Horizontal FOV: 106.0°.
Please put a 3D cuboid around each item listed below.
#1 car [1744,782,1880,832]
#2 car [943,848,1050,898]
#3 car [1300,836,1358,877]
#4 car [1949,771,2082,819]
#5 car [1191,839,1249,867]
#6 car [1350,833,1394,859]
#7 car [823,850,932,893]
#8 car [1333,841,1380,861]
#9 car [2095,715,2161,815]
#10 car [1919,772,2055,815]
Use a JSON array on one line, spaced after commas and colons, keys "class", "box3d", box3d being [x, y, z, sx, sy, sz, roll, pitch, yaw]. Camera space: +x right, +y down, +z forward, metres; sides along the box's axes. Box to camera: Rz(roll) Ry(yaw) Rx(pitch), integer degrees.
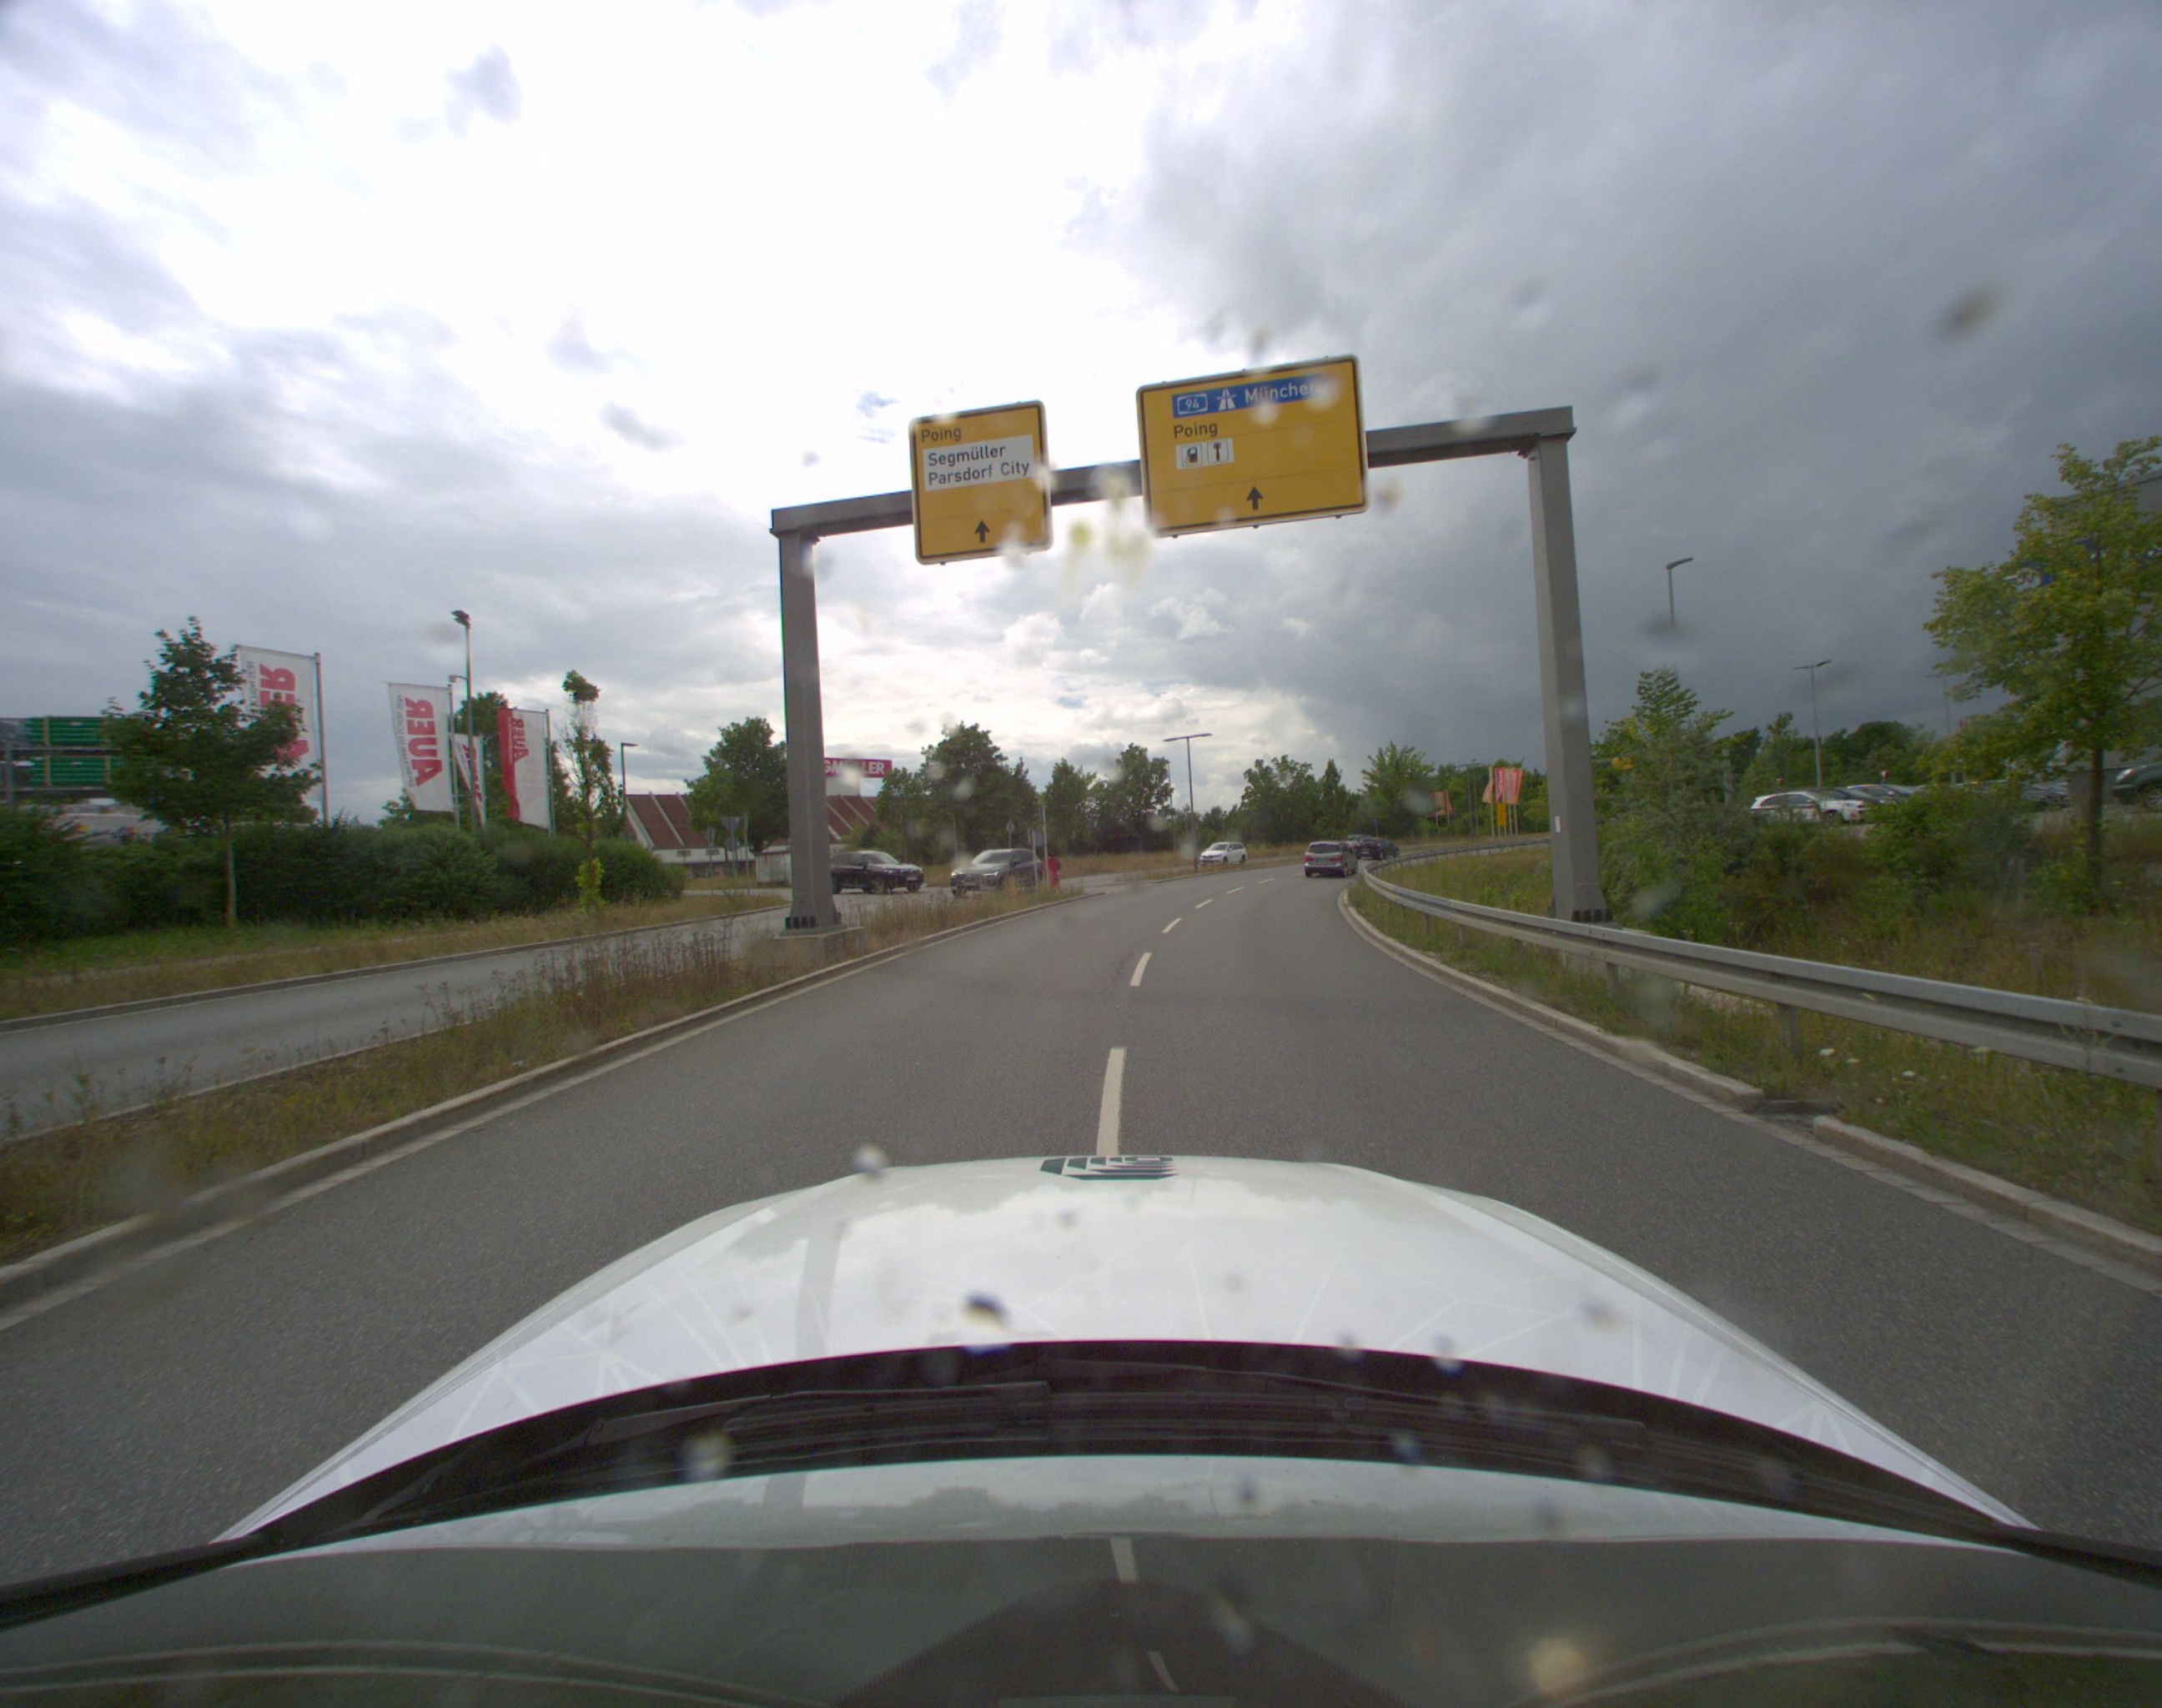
[{"class": "car", "box3d": [29.210, -1.858, 32.657, 1.646, 1.538, 3.600, -4, -2, -23]}, {"class": "car", "box3d": [-2.928, 0.607, 29.348, 1.793, 1.629, 4.712, 0, 0, 22]}, {"class": "car", "box3d": [11.259, 0.163, 36.818, 1.751, 1.617, 3.944, -4, -4, 26]}, {"class": "car", "box3d": [45.027, -2.805, 39.344, 1.724, 1.819, 3.828, -2, -2, -25]}, {"class": "car", "box3d": [8.913, -0.084, 51.915, 1.698, 1.634, 4.294, -2, 0, 40]}, {"class": "car", "box3d": [19.303, -0.524, 53.952, 1.851, 1.605, 3.759, -2, 0, 33]}, {"class": "car", "box3d": [-8.033, 0.712, 32.056, 4.200, 1.550, 1.886, -2, 0, 37]}, {"class": "car", "box3d": [22.575, -0.275, 66.633, 4.112, 1.486, 1.448, -2, 0, -34]}, {"class": "car", "box3d": [21.447, -1.807, 14.448, 1.707, 1.811, 3.939, -6, 0, -23]}, {"class": "car", "box3d": [42.610, -2.828, 38.399, 1.724, 1.534, 3.863, -2, -2, -25]}]
